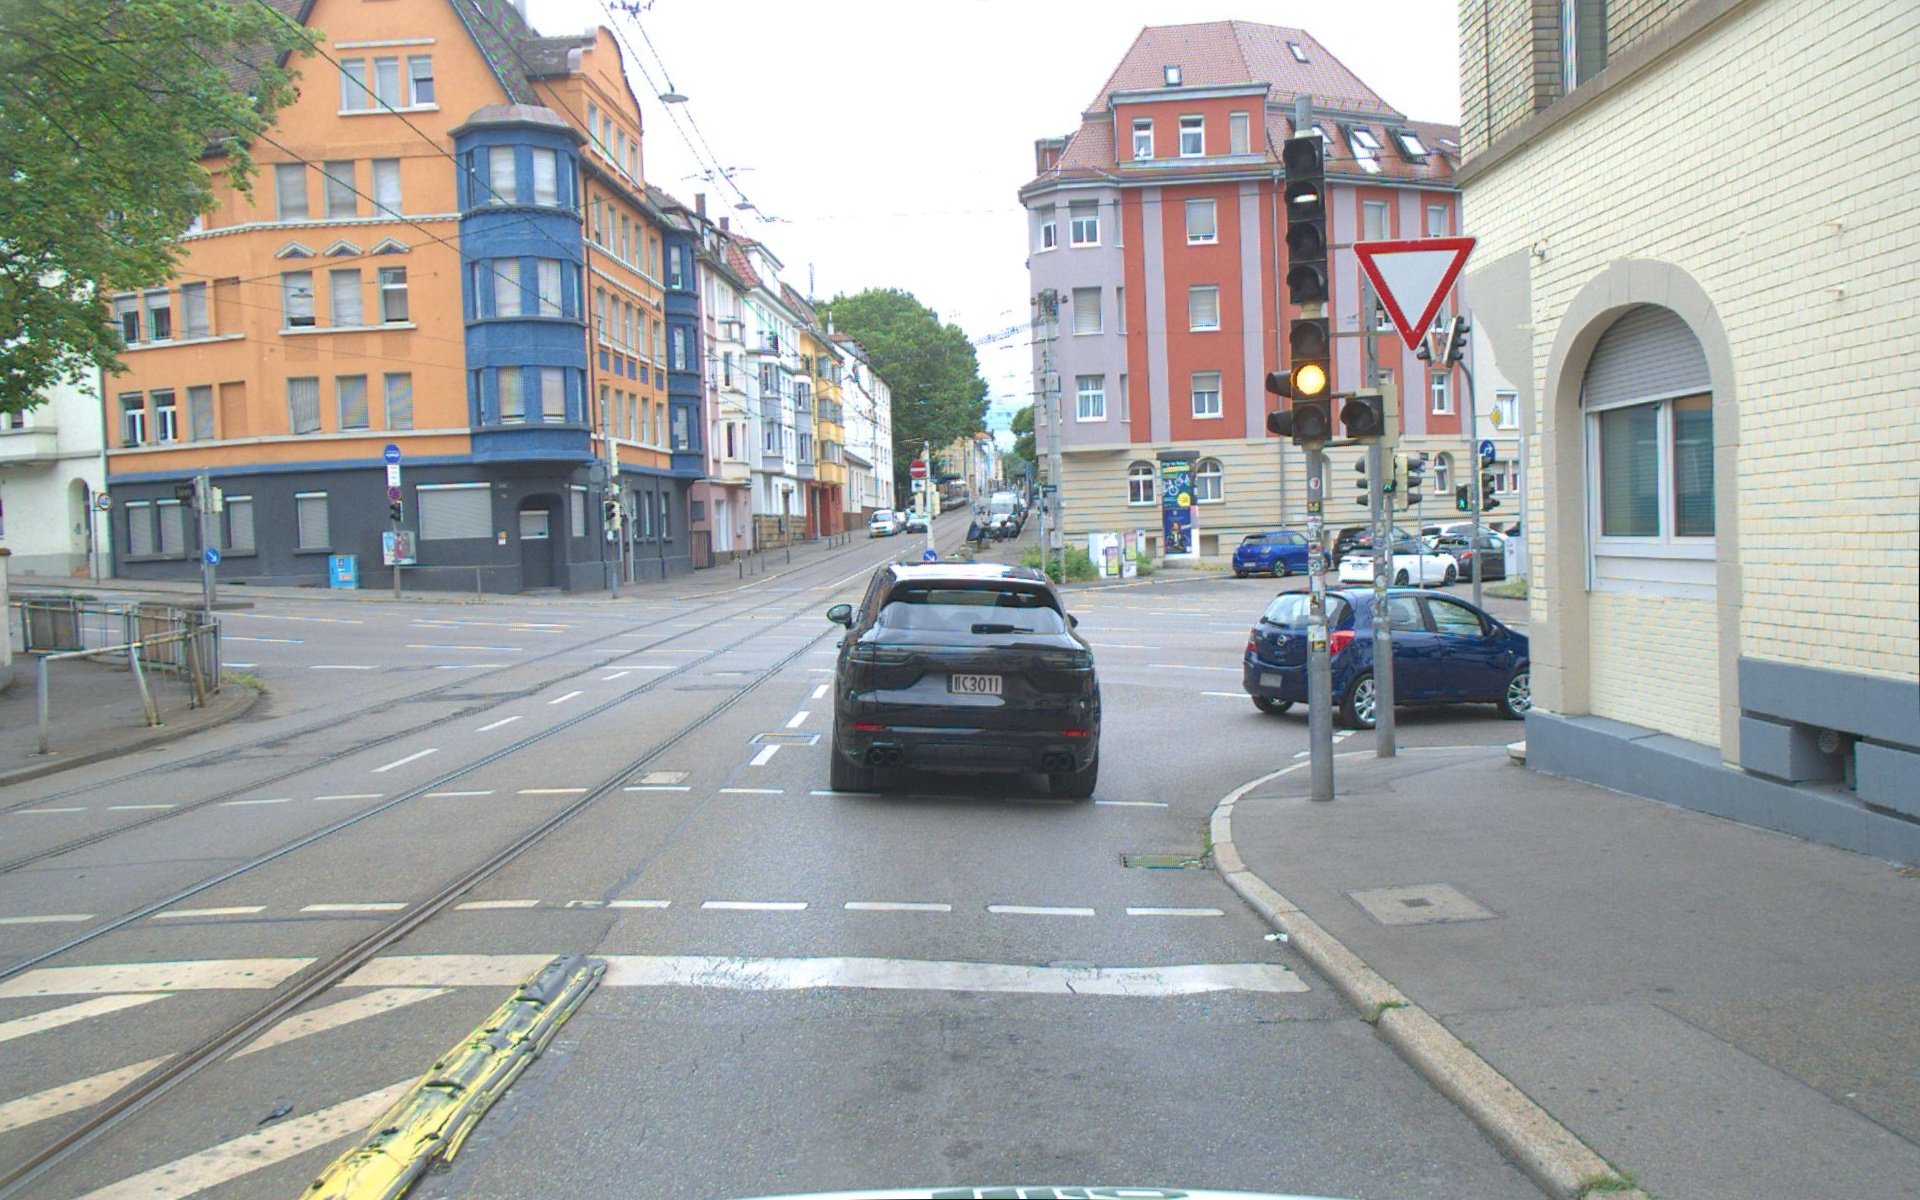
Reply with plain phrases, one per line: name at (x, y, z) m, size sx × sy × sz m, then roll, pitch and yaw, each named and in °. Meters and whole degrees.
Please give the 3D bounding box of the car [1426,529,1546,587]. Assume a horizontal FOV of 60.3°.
car at (16.599, -1.356, 52.117) m, size 4.111 × 1.561 × 1.888 m, roll -5°, pitch 6°, yaw -44°

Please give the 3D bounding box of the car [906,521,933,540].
car at (-2.920, -5.040, 119.516) m, size 1.650 × 1.349 × 3.665 m, roll 0°, pitch 3°, yaw 4°

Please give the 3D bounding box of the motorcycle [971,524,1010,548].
motorcycle at (1.700, -3.606, 92.669) m, size 2.135 × 1.349 × 0.699 m, roll 0°, pitch 3°, yaw -7°

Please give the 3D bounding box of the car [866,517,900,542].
car at (-5.464, -5.040, 117.697) m, size 1.951 × 1.721 × 4.003 m, roll 0°, pitch 3°, yaw 4°

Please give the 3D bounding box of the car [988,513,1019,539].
car at (2.791, -4.759, 105.902) m, size 1.801 × 1.595 × 3.822 m, roll 0°, pitch 3°, yaw 4°

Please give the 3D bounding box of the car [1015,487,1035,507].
car at (7.565, -12.015, 192.832) m, size 2.219 × 2.221 × 4.773 m, roll 0°, pitch 3°, yaw 4°

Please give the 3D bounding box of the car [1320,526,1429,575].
car at (15.116, -1.841, 60.216) m, size 4.106 × 1.561 × 1.890 m, roll -5°, pitch 6°, yaw -41°

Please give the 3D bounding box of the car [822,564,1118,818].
car at (-0.030, 0.573, 13.326) m, size 1.983 × 1.670 × 4.354 m, roll 1°, pitch 2°, yaw -3°

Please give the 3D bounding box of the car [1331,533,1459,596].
car at (12.812, -1.081, 48.603) m, size 1.887 × 1.561 × 4.113 m, roll 3°, pitch 6°, yaw 44°

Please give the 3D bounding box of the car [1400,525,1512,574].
car at (18.992, -1.968, 63.340) m, size 4.088 × 1.660 × 1.898 m, roll -4°, pitch 5°, yaw -32°

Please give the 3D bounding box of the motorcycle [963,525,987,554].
motorcycle at (0.727, -3.011, 82.138) m, size 0.843 × 1.348 × 2.182 m, roll -7°, pitch 3°, yaw -5°

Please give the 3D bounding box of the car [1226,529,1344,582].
car at (11.062, -1.534, 56.207) m, size 4.108 × 1.561 × 1.889 m, roll -5°, pitch 6°, yaw -42°

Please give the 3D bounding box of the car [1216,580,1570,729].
car at (4.922, 0.582, 18.729) m, size 3.700 × 1.472 × 1.743 m, roll 1°, pitch 2°, yaw -30°

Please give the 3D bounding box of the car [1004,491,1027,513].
car at (5.848, -10.192, 172.592) m, size 2.219 × 2.221 × 4.773 m, roll 0°, pitch 3°, yaw 4°

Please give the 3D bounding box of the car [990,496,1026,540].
car at (3.252, -5.561, 111.865) m, size 2.219 × 2.940 × 4.773 m, roll 0°, pitch 3°, yaw 4°

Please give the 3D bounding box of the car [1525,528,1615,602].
car at (15.895, -0.961, 43.013) m, size 1.788 × 1.604 × 4.258 m, roll 2°, pitch 6°, yaw 25°
